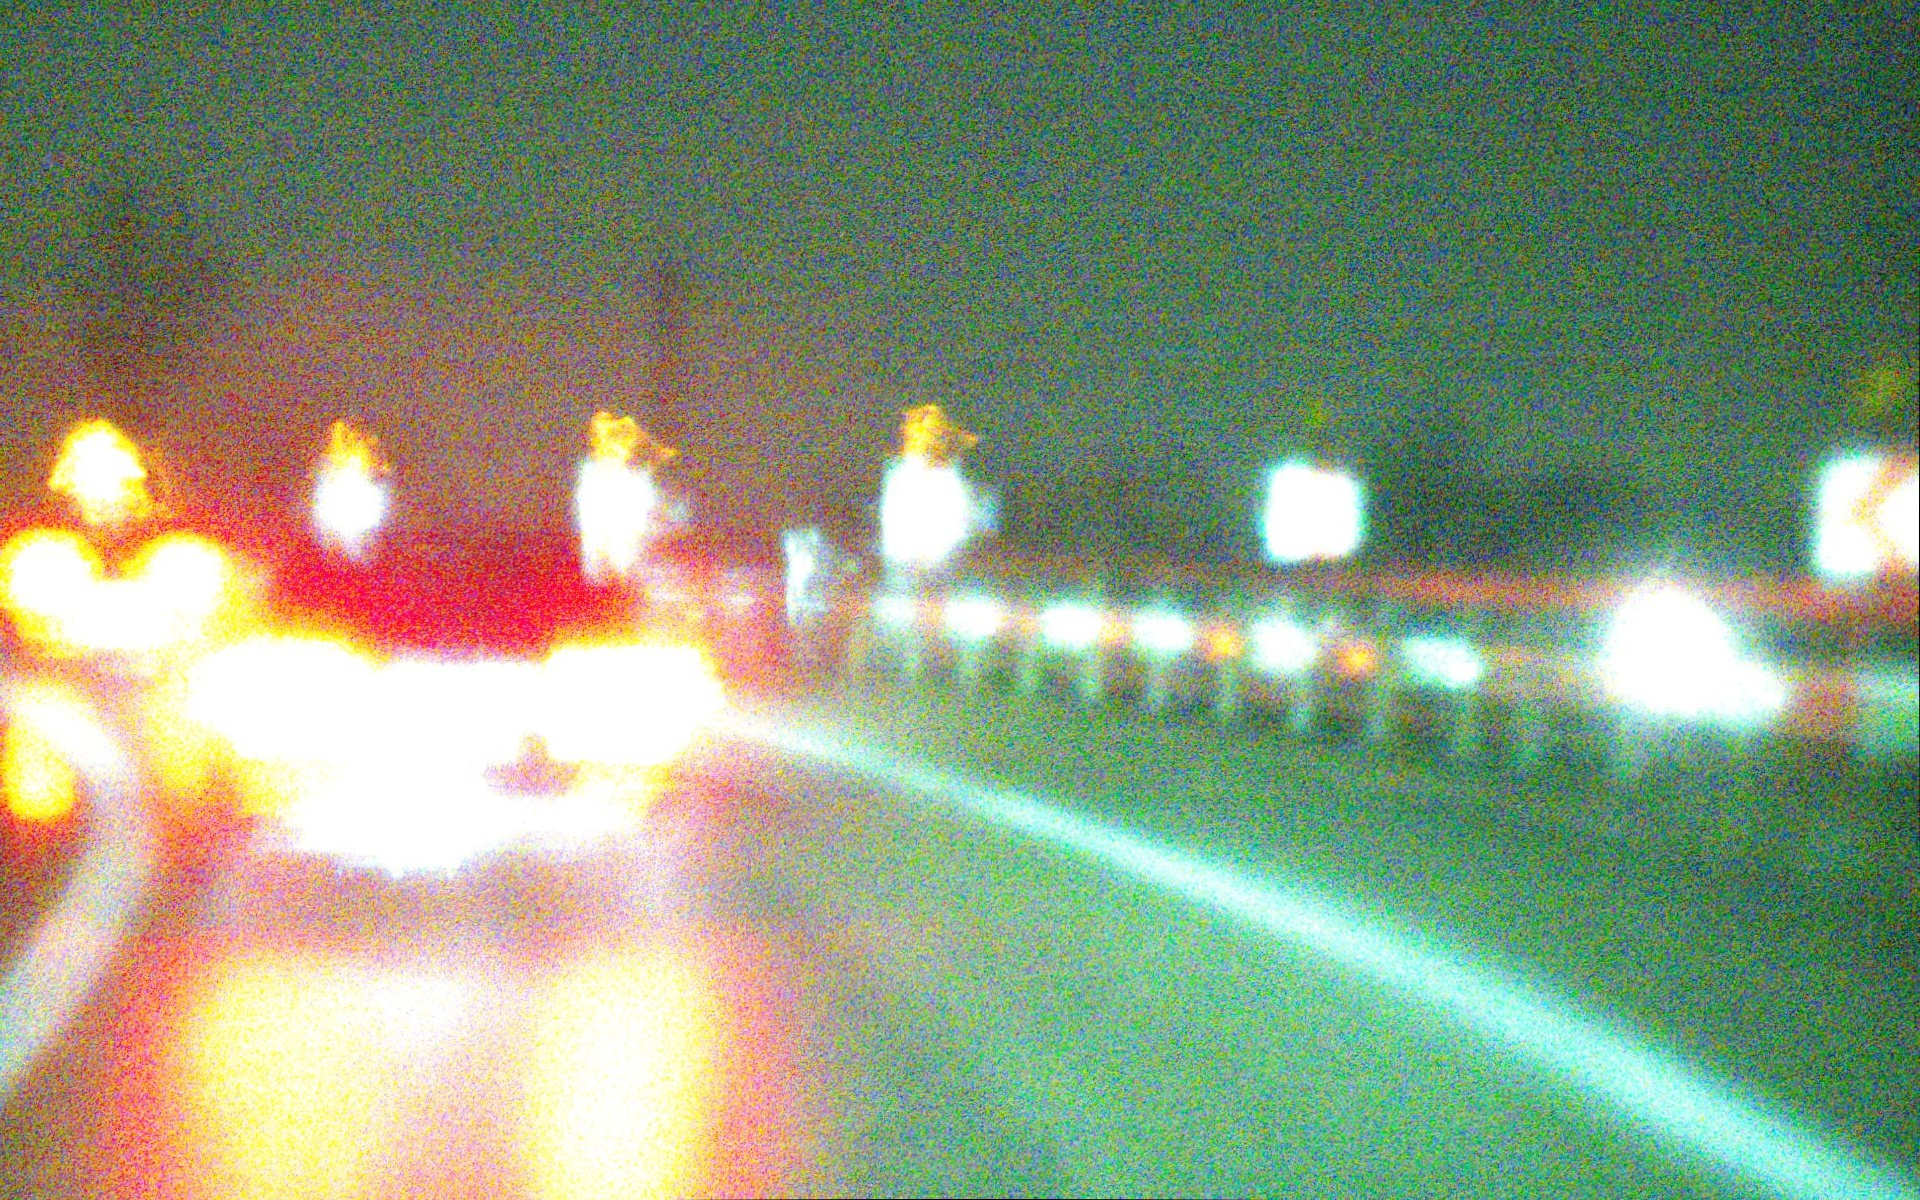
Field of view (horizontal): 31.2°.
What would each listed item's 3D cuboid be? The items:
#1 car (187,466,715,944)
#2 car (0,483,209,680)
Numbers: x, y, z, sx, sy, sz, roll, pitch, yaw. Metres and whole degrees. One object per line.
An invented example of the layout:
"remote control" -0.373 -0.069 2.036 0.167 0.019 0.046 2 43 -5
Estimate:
"car" -2.162 0.289 14.280 1.860 1.641 4.070 0 3 -10
"car" -8.352 -0.226 32.119 1.895 1.714 4.047 0 2 -23
